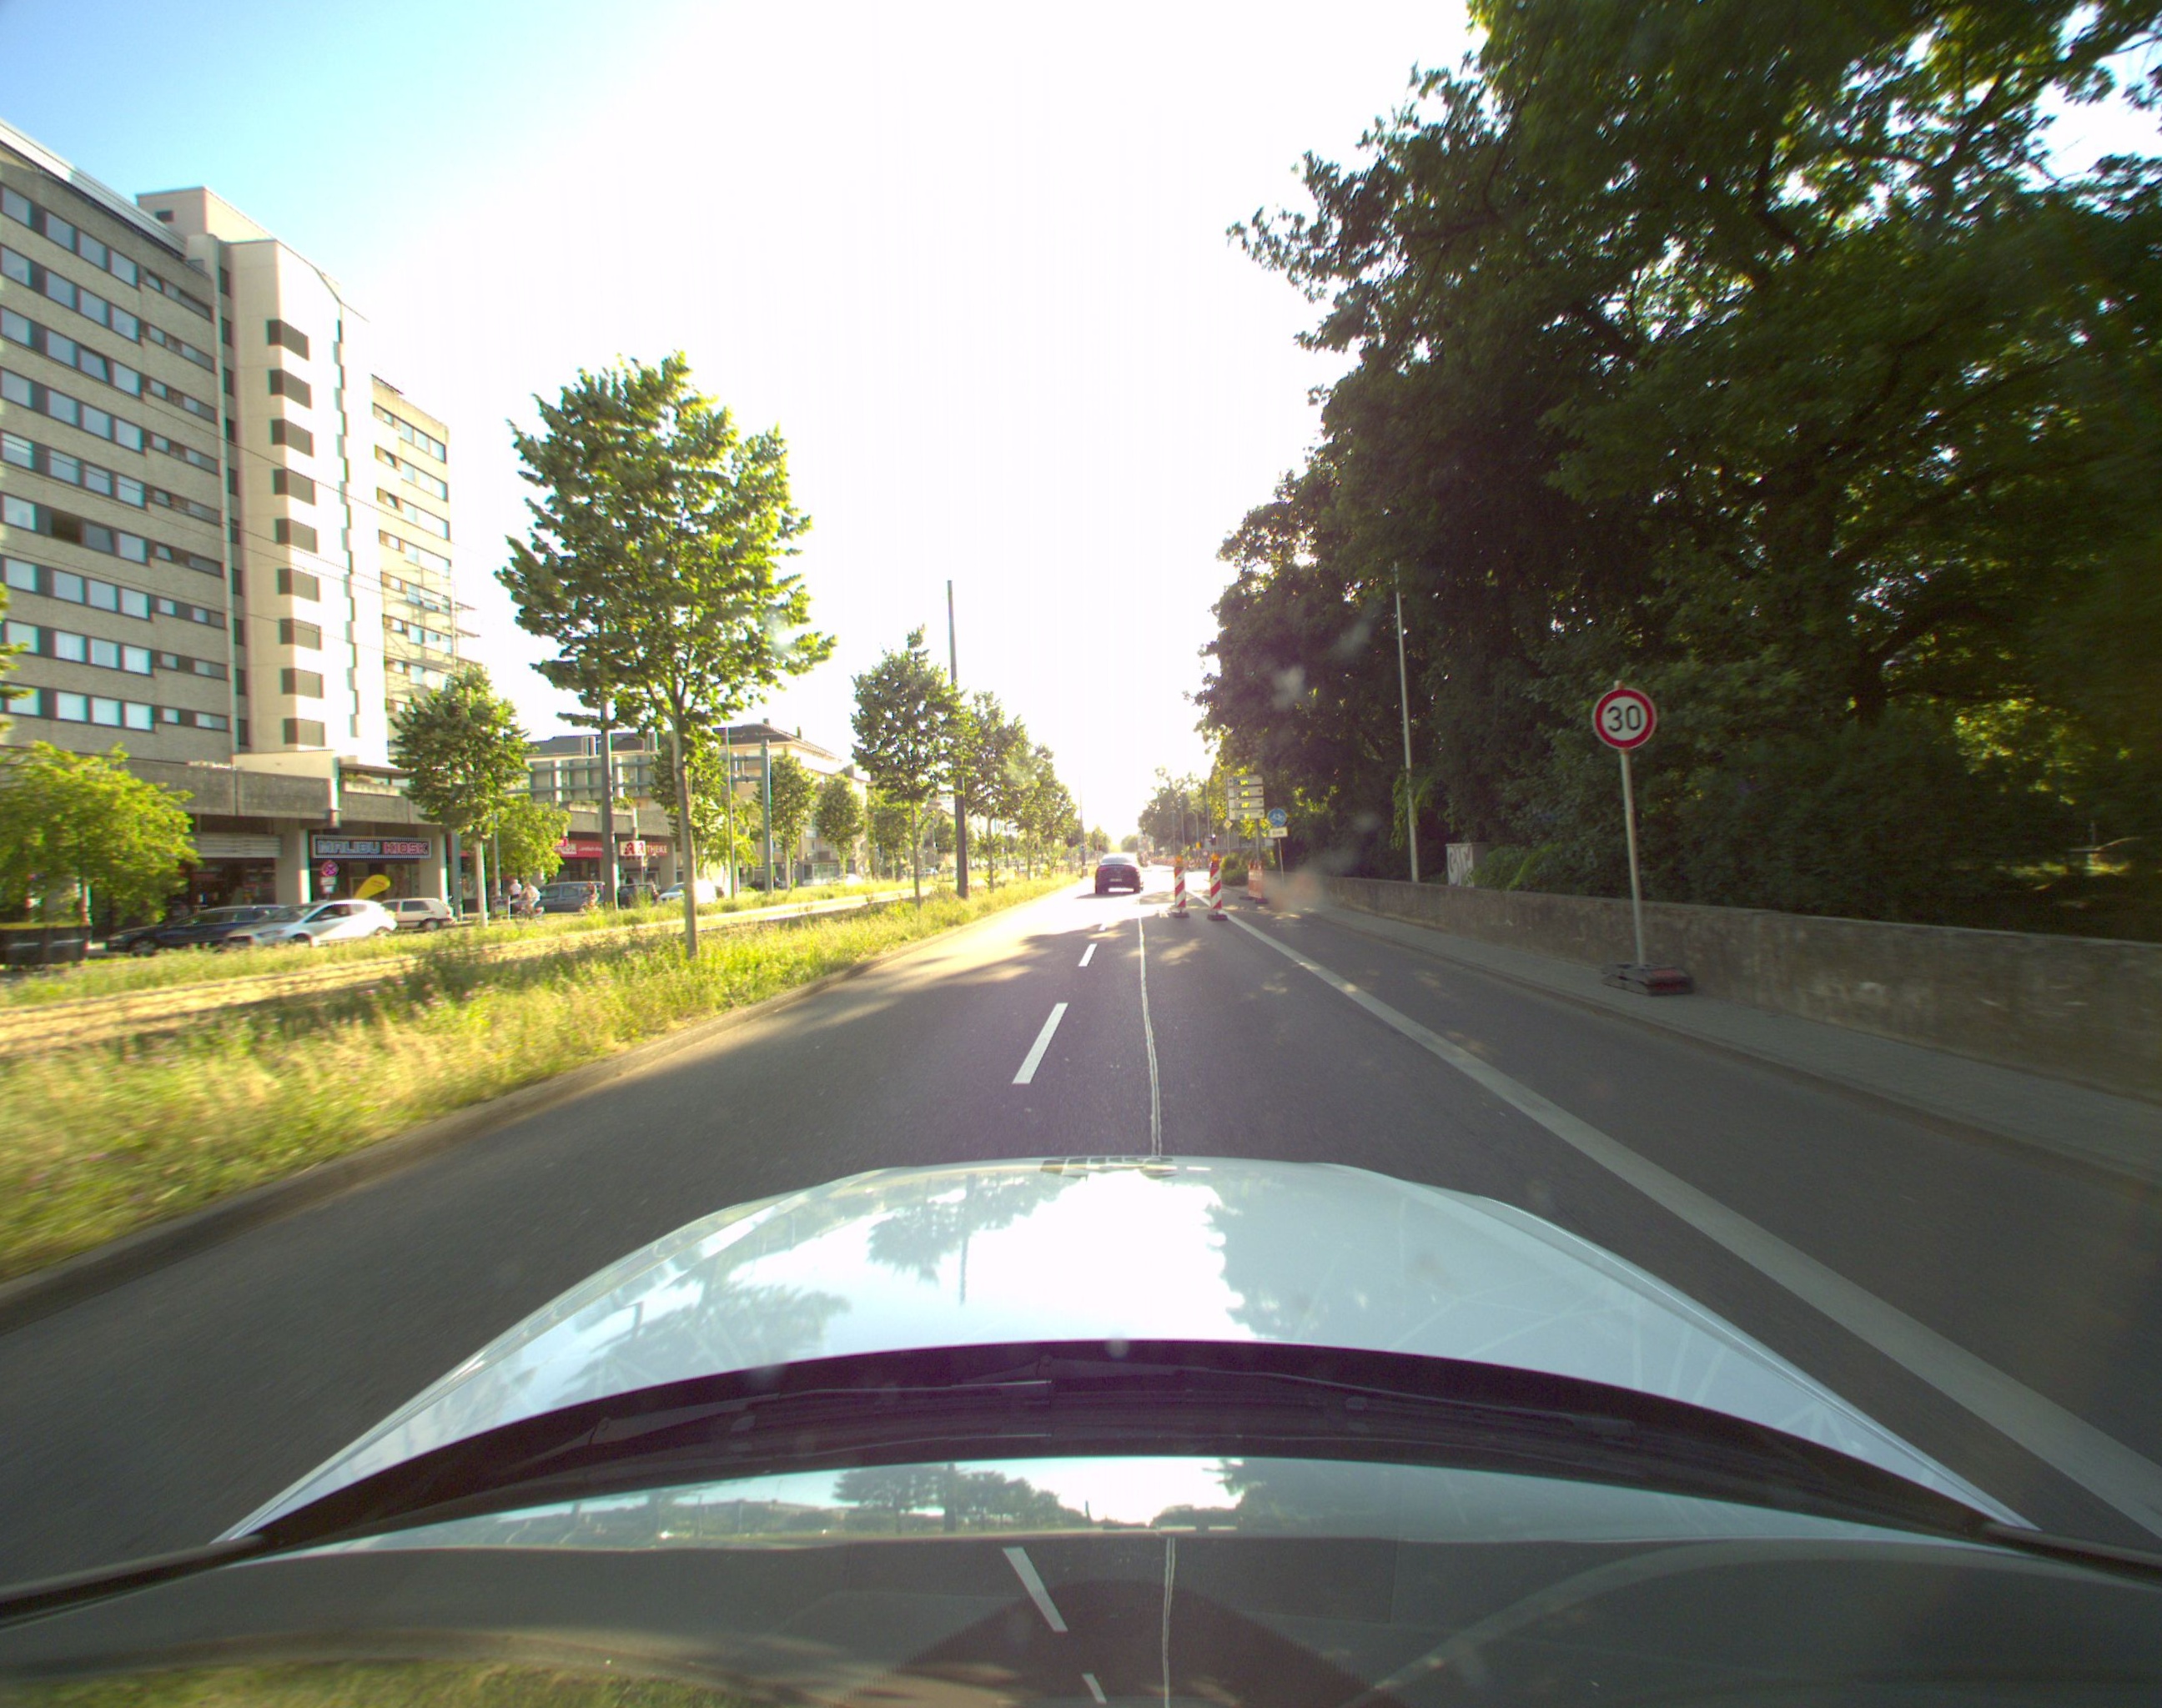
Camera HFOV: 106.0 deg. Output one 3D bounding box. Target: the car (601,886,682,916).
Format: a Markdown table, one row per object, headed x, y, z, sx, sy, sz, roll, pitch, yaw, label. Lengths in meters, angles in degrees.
| x | y | z | sx | sy | sz | roll | pitch | yaw | label |
| --- | --- | --- | --- | --- | --- | --- | --- | --- | --- |
| -27.523 | 2.905 | 51.074 | 4.023 | 1.574 | 1.975 | -2 | 0 | -45 | car |

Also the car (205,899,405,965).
| x | y | z | sx | sy | sz | roll | pitch | yaw | label |
| --- | --- | --- | --- | --- | --- | --- | --- | --- | --- |
| -22.879 | 2.253 | 24.253 | 1.876 | 1.514 | 4.006 | -2 | 0 | 5 | car |

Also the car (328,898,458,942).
| x | y | z | sx | sy | sz | roll | pitch | yaw | label |
| --- | --- | --- | --- | --- | --- | --- | --- | --- | --- |
| -28.709 | 2.699 | 34.067 | 4.023 | 1.453 | 1.764 | -2 | 0 | -44 | car |

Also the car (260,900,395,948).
| x | y | z | sx | sy | sz | roll | pitch | yaw | label |
| --- | --- | --- | --- | --- | --- | --- | --- | --- | --- |
| -28.724 | 2.623 | 31.207 | 3.642 | 1.523 | 1.602 | -1 | -1 | -37 | car |

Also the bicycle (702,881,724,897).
| x | y | z | sx | sy | sz | roll | pitch | yaw | label |
| --- | --- | --- | --- | --- | --- | --- | --- | --- | --- |
| -24.090 | 2.288 | 53.397 | 0.604 | 0.963 | 1.718 | -2 | 0 | 1 | bicycle |

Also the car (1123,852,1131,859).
| x | y | z | sx | sy | sz | roll | pitch | yaw | label |
| --- | --- | --- | --- | --- | --- | --- | --- | --- | --- |
| 10.572 | 0.384 | 188.161 | 1.878 | 1.580 | 4.004 | -2 | 0 | 3 | car |

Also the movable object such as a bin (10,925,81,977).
| x | y | z | sx | sy | sz | roll | pitch | yaw | label |
| --- | --- | --- | --- | --- | --- | --- | --- | --- | --- |
| -28.416 | 2.648 | 22.357 | 0.851 | 1.280 | 0.944 | -3 | -1 | 18 | movable object such as a bin |

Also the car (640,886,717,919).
| x | y | z | sx | sy | sz | roll | pitch | yaw | label |
| --- | --- | --- | --- | --- | --- | --- | --- | --- | --- |
| -21.906 | 2.594 | 44.527 | 1.876 | 1.514 | 4.006 | -2 | 0 | 5 | car |

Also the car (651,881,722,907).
| x | y | z | sx | sy | sz | roll | pitch | yaw | label |
| --- | --- | --- | --- | --- | --- | --- | --- | --- | --- |
| -26.990 | 2.686 | 55.755 | 4.019 | 1.563 | 1.977 | -2 | 0 | -38 | car |

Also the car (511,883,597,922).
| x | y | z | sx | sy | sz | roll | pitch | yaw | label |
| --- | --- | --- | --- | --- | --- | --- | --- | --- | --- |
| -28.404 | 2.574 | 43.956 | 3.776 | 1.829 | 1.804 | -2 | 0 | -36 | car |

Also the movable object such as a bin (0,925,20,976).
| x | y | z | sx | sy | sz | roll | pitch | yaw | label |
| --- | --- | --- | --- | --- | --- | --- | --- | --- | --- |
| -29.819 | 2.651 | 22.114 | 0.851 | 1.357 | 0.944 | -3 | -1 | 18 | movable object such as a bin |

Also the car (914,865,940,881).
| x | y | z | sx | sy | sz | roll | pitch | yaw | label |
| --- | --- | --- | --- | --- | --- | --- | --- | --- | --- |
| -17.253 | 2.074 | 91.277 | 1.877 | 1.640 | 4.003 | -3 | 0 | 3 | car |

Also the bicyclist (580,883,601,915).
| x | y | z | sx | sy | sz | roll | pitch | yaw | label |
| --- | --- | --- | --- | --- | --- | --- | --- | --- | --- |
| -24.241 | 2.218 | 40.285 | 0.549 | 1.544 | 0.683 | -2 | 0 | 4 | bicyclist |

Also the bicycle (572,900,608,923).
| x | y | z | sx | sy | sz | roll | pitch | yaw | label |
| --- | --- | --- | --- | --- | --- | --- | --- | --- | --- |
| -24.232 | 2.828 | 40.247 | 0.552 | 1.040 | 1.793 | -2 | 0 | 5 | bicycle |

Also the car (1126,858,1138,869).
| x | y | z | sx | sy | sz | roll | pitch | yaw | label |
| --- | --- | --- | --- | --- | --- | --- | --- | --- | --- |
| 8.042 | 1.419 | 127.596 | 1.760 | 1.604 | 3.776 | -3 | 0 | 3 | car |

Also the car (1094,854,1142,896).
| x | y | z | sx | sy | sz | roll | pitch | yaw | label |
| --- | --- | --- | --- | --- | --- | --- | --- | --- | --- |
| 1.675 | 0.882 | 36.567 | 1.985 | 1.734 | 4.004 | -2 | 0 | 3 | car |

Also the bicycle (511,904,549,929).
| x | y | z | sx | sy | sz | roll | pitch | yaw | label |
| --- | --- | --- | --- | --- | --- | --- | --- | --- | --- |
| -25.368 | 2.868 | 37.532 | 0.542 | 0.993 | 1.712 | -2 | 0 | 1 | bicycle |

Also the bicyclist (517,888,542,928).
| x | y | z | sx | sy | sz | roll | pitch | yaw | label |
| --- | --- | --- | --- | --- | --- | --- | --- | --- | --- |
| -25.372 | 2.474 | 37.487 | 0.538 | 1.788 | 0.858 | -2 | 0 | 1 | bicyclist |

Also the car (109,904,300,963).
| x | y | z | sx | sy | sz | roll | pitch | yaw | label |
| --- | --- | --- | --- | --- | --- | --- | --- | --- | --- |
| -29.293 | 2.599 | 27.429 | 4.115 | 1.601 | 1.730 | 0 | 0 | -37 | car |

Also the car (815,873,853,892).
| x | y | z | sx | sy | sz | roll | pitch | yaw | label |
| --- | --- | --- | --- | --- | --- | --- | --- | --- | --- |
| -20.777 | 2.399 | 68.710 | 1.926 | 1.397 | 3.688 | -3 | 0 | 1 | car |
